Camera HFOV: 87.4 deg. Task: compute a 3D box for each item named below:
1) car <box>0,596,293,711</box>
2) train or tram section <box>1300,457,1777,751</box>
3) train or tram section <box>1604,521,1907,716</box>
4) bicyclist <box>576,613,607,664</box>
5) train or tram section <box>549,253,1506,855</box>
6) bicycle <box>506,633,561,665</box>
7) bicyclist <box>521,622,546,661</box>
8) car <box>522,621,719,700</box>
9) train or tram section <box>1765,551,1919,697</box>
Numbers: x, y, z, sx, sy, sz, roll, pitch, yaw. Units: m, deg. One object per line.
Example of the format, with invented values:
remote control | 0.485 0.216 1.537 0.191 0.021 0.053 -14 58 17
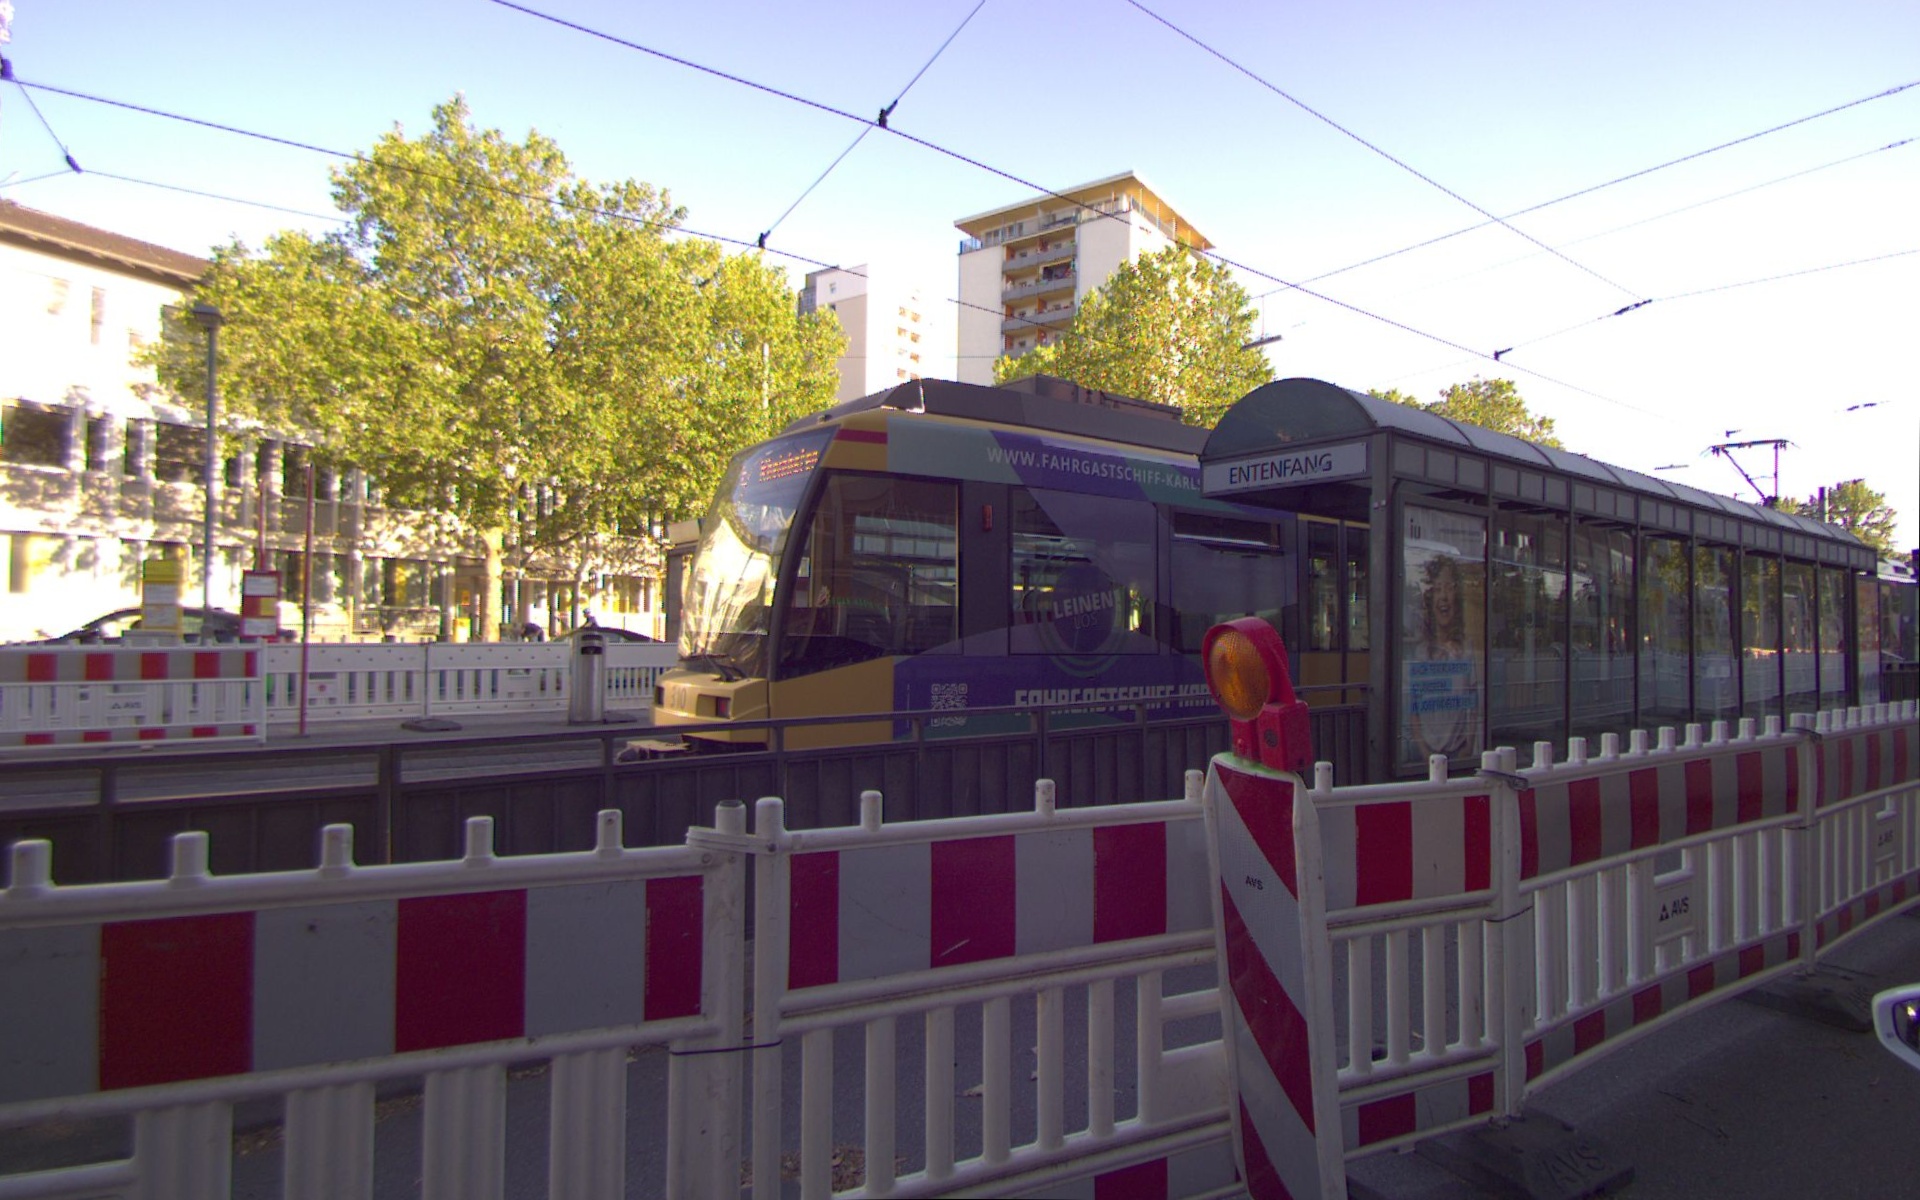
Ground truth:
car | -13.808 0.835 16.592 4.544 1.689 1.881 2 0 -37
train or tram section | 9.819 0.197 16.255 10.240 3.533 2.851 2 -1 -37
train or tram section | 18.047 0.481 22.412 10.242 3.533 2.815 2 -1 -37
bicyclist | -10.416 1.079 28.367 0.716 1.415 0.517 2 -1 -30
train or tram section | 1.611 -0.125 10.101 10.242 3.533 2.815 2 -1 -37
bicycle | -12.440 1.426 29.326 0.451 0.925 1.424 0 -2 42
bicyclist | -12.452 1.203 29.309 0.451 1.137 0.504 0 -2 42
car | -7.485 1.295 22.323 3.807 1.597 1.677 2 -2 -38
train or tram section | 26.254 0.727 28.499 10.239 3.533 2.797 2 -1 -36
